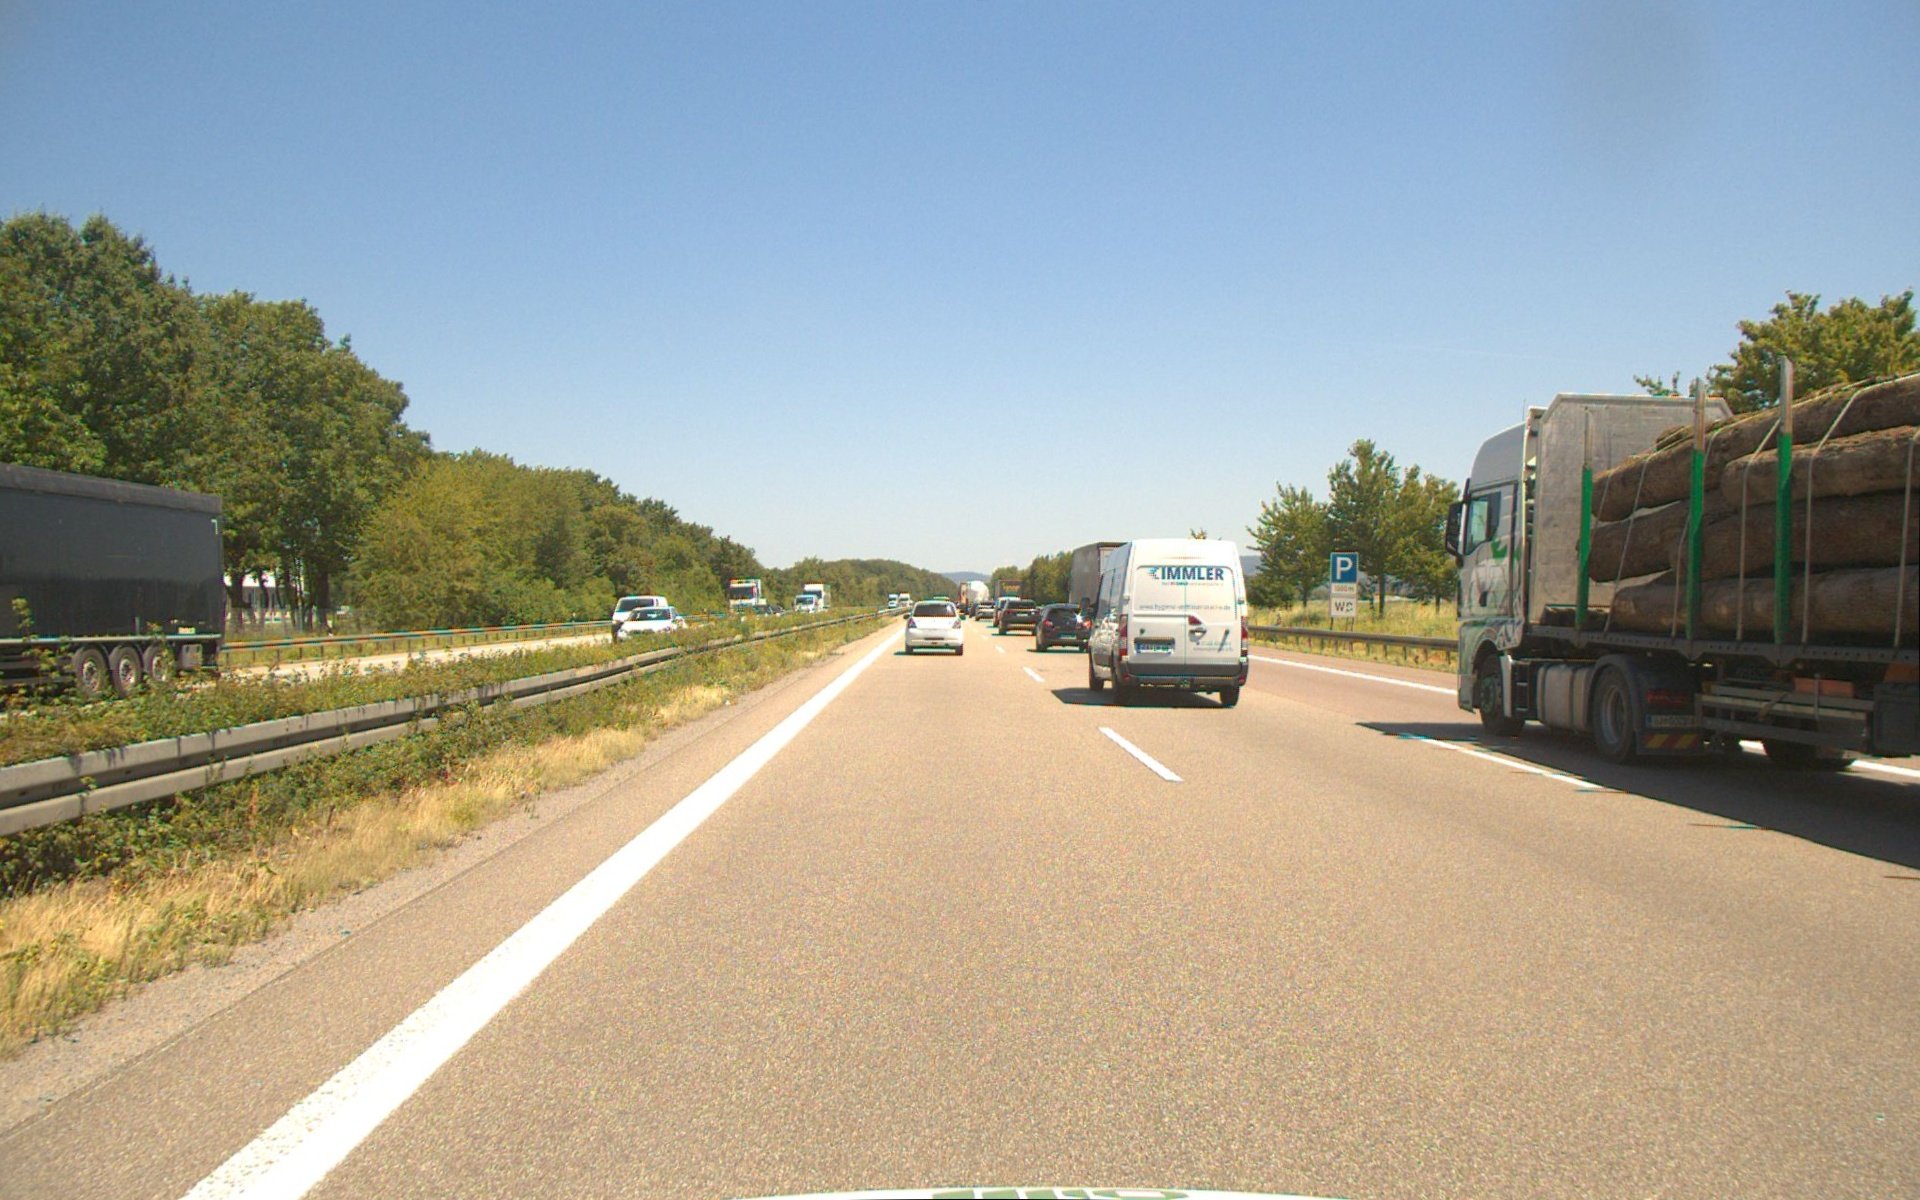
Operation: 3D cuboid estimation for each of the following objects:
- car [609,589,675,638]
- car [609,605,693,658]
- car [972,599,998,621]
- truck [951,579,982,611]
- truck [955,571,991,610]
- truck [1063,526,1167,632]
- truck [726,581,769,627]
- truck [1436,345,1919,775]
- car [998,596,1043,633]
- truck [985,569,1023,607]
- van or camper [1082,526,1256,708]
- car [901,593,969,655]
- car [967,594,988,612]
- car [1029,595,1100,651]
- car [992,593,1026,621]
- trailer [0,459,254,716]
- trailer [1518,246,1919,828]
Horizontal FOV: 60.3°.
[{"bbox_3d":[-13.442,0.557,70.233,1.955,1.946,5.209,-2,0,-2],"label":"car"},{"bbox_3d":[-10.016,0.981,53.938,1.882,1.555,4.866,-2,0,-2],"label":"car"},{"bbox_3d":[1.991,0.812,132.461,1.820,1.681,3.998,1,0,-3],"label":"car"},{"bbox_3d":[0.836,-0.695,233.037,3.193,4.282,16.832,2,0,-3],"label":"truck"},{"bbox_3d":[1.462,-1.078,196.672,3.193,4.282,16.832,2,0,-3],"label":"truck"},{"bbox_3d":[6.930,-0.874,76.754,3.016,4.282,16.841,2,0,0],"label":"truck"},{"bbox_3d":[-18.607,0.308,145.043,2.552,3.827,9.863,-2,0,-1],"label":"truck"},{"bbox_3d":[7.813,-0.389,19.076,2.615,4.064,6.635,1,0,-1],"label":"truck"},{"bbox_3d":[2.812,0.664,77.645,1.820,1.681,3.998,1,0,-3],"label":"car"},{"bbox_3d":[5.230,-1.364,200.052,3.193,4.282,16.832,2,0,-3],"label":"truck"},{"bbox_3d":[3.313,0.247,27.461,2.016,2.668,5.984,0,0,-1],"label":"van or camper"},{"bbox_3d":[-0.775,0.675,48.120,1.820,1.681,3.998,2,0,-3],"label":"car"},{"bbox_3d":[1.665,0.287,158.121,1.820,1.681,3.998,1,0,-3],"label":"car"},{"bbox_3d":[3.291,0.709,52.661,1.820,1.681,3.998,1,0,-3],"label":"car"},{"bbox_3d":[2.977,0.418,101.343,1.820,1.681,3.998,1,0,-3],"label":"car"},{"bbox_3d":[-16.992,-0.139,28.730,3.377,4.081,14.201,-2,0,-1],"label":"trailer"},{"bbox_3d":[7.917,-0.427,12.447,2.599,4.028,13.633,1,0,-1],"label":"trailer"}]
